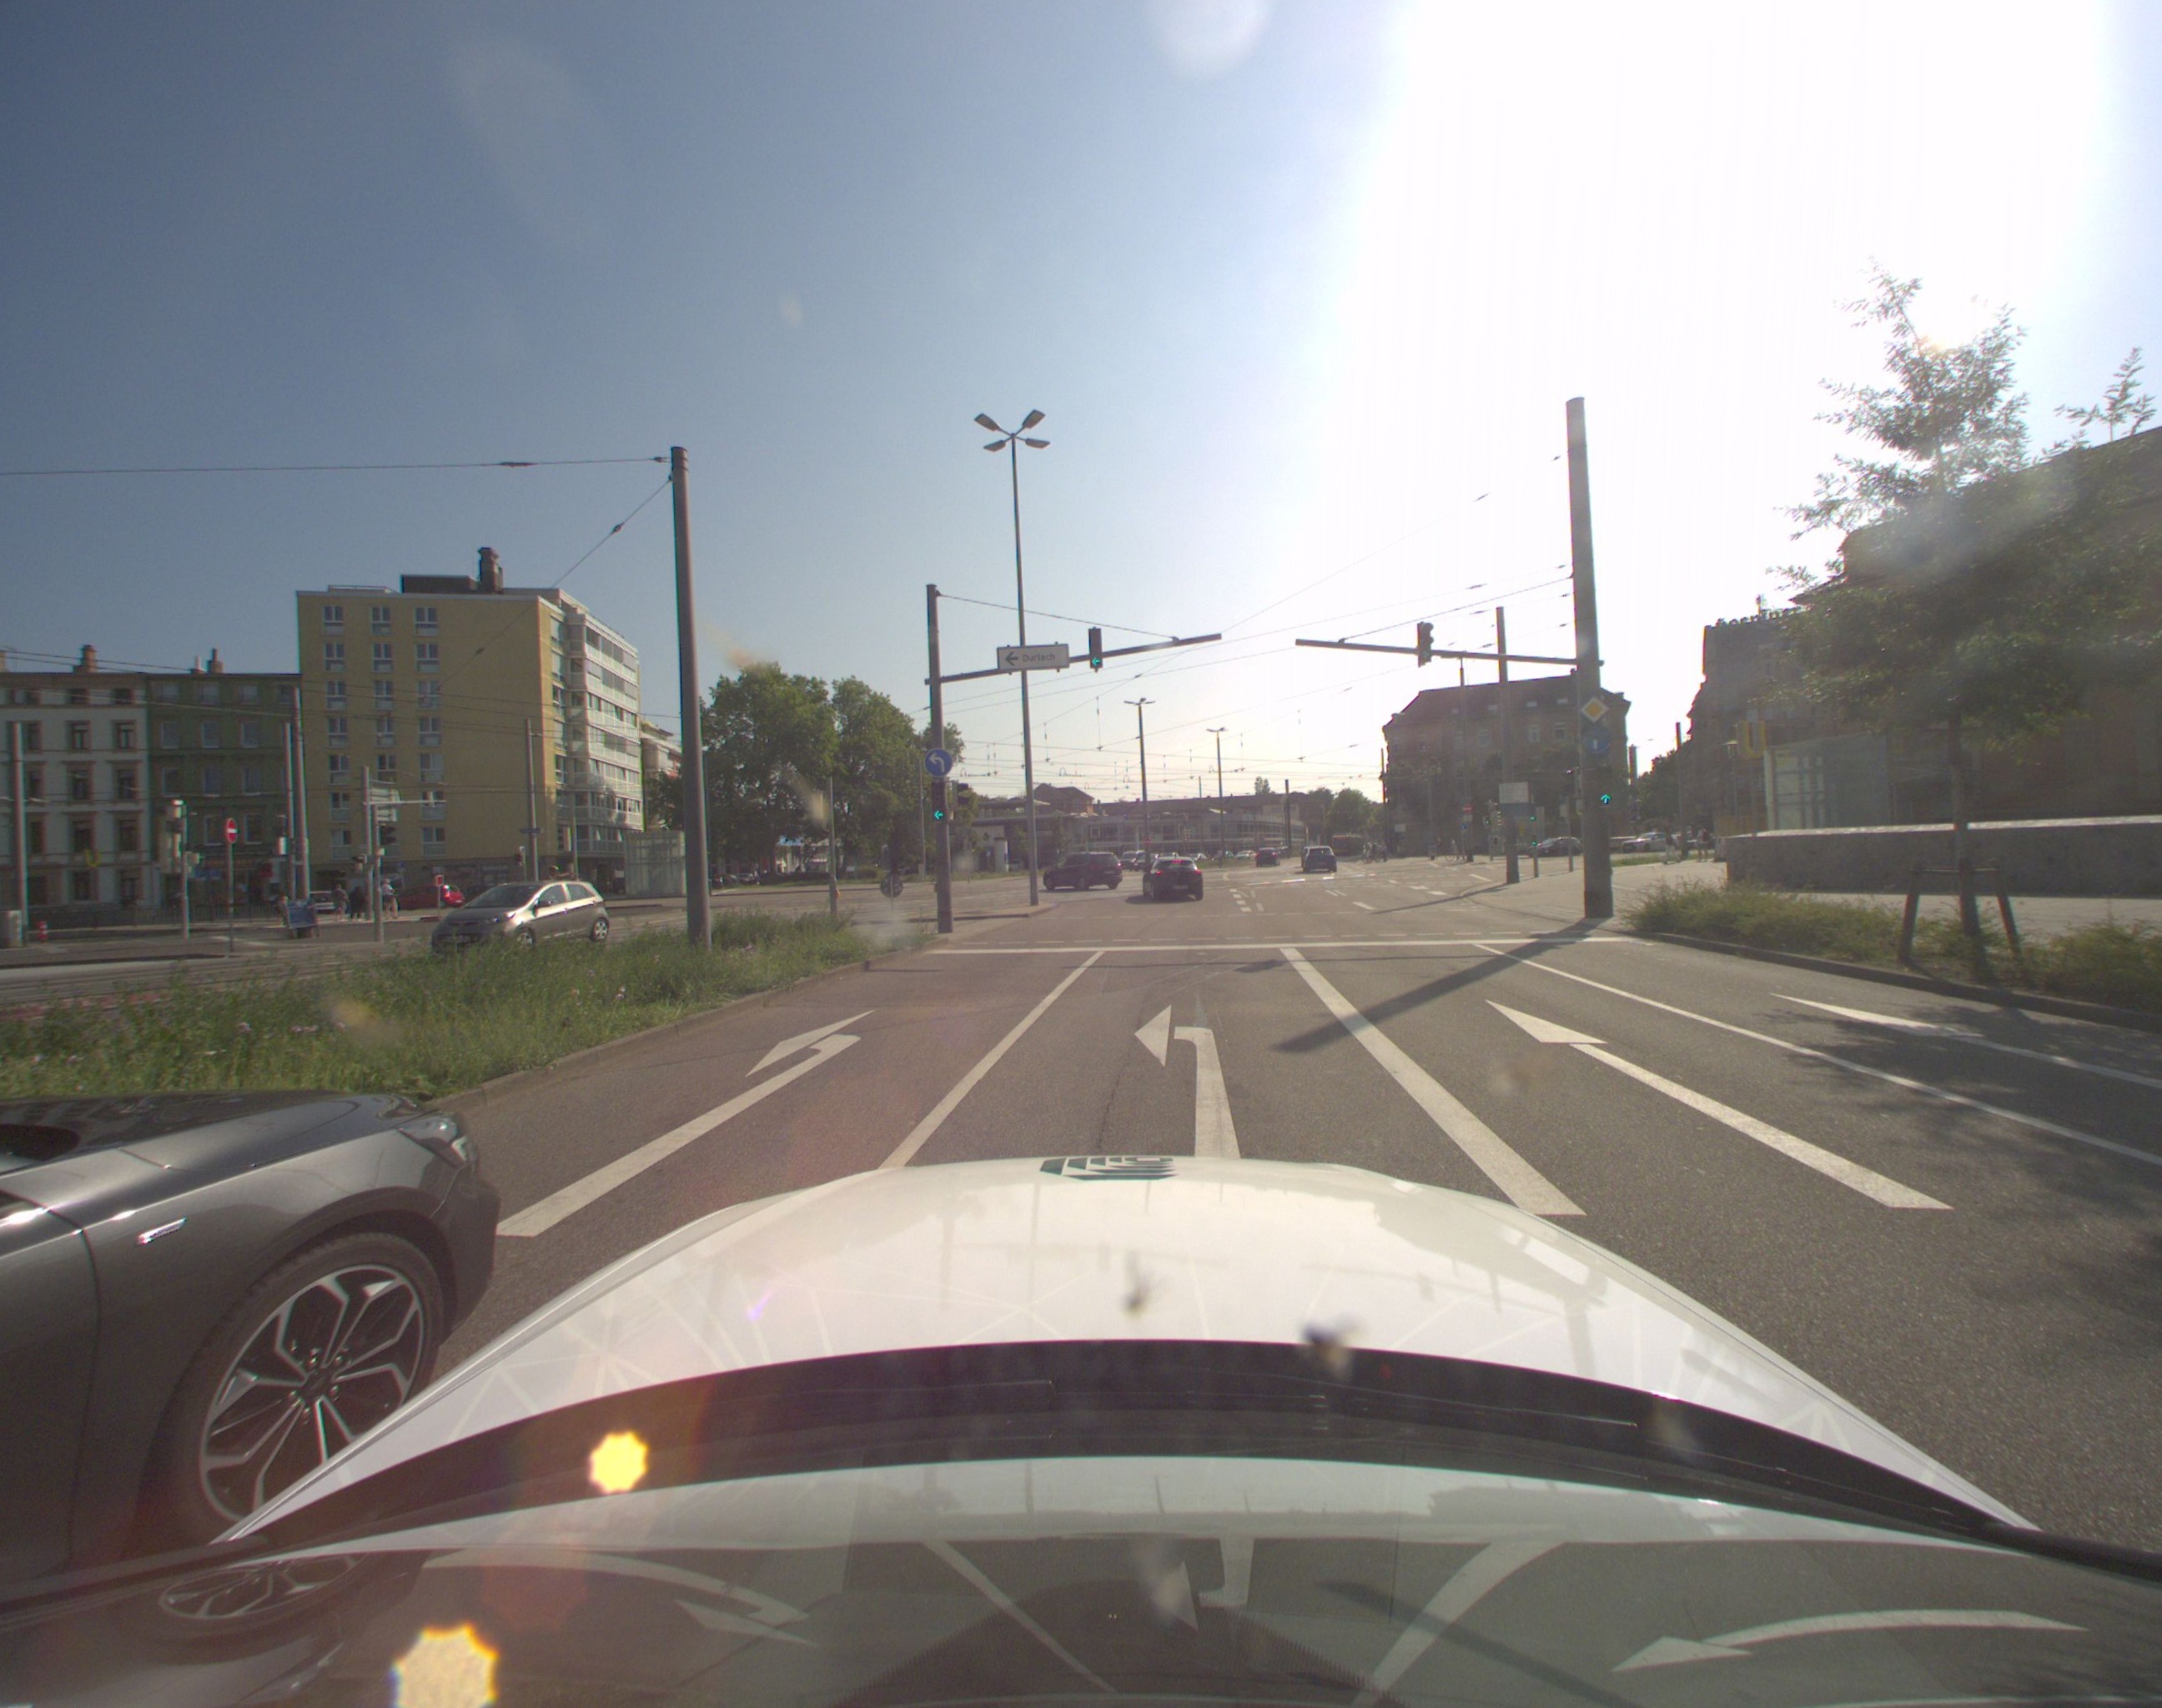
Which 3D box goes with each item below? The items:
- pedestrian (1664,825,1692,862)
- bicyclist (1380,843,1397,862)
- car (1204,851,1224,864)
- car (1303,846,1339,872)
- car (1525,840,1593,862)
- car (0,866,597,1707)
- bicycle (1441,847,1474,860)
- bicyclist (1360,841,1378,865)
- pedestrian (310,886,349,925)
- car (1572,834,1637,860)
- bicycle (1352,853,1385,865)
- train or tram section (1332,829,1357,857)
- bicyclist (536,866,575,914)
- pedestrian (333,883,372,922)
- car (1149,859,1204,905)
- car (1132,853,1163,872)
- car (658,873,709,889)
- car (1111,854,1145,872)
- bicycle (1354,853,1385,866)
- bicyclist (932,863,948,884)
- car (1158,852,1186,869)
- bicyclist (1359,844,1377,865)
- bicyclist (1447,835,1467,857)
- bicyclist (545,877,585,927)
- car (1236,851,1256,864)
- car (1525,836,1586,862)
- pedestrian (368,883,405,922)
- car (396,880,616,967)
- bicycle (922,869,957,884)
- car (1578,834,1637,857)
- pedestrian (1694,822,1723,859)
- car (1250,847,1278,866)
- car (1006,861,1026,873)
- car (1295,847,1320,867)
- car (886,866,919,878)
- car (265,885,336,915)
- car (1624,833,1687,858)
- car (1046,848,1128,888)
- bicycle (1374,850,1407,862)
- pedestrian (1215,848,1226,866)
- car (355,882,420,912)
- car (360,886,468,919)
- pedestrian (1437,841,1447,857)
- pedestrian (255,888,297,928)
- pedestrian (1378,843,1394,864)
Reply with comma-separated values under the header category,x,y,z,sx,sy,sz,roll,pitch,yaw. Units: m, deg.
category,x,y,z,sx,sy,sz,roll,pitch,yaw
pedestrian,28.259,-0.486,38.532,0.911,1.690,0.842,-3,-1,43
bicyclist,27.667,-0.147,73.265,0.936,1.680,1.086,-2,0,-17
car,16.803,0.429,102.745,1.600,1.475,4.022,-5,-1,23
car,14.324,0.266,48.812,1.812,1.428,4.429,-3,0,14
car,35.290,-0.224,60.102,4.390,1.397,2.009,-2,0,-22
car,-2.721,0.785,0.519,1.824,1.435,4.555,-2,0,4
bicycle,30.592,-0.030,66.201,2.635,0.964,1.082,-2,-1,-31
bicyclist,24.682,-0.065,69.774,0.940,2.024,1.082,-2,0,-31
pedestrian,-34.078,2.315,36.944,0.922,1.690,0.919,-2,-1,-11
car,42.296,-0.565,65.790,4.709,1.859,1.897,-2,0,-20
bicycle,25.400,0.460,72.012,2.625,0.964,1.086,-2,0,-18
train or tram section,38.662,-1.619,119.119,2.631,3.699,10.646,-3,0,22
bicyclist,-17.505,1.184,27.149,0.793,1.527,0.725,-2,0,-5
pedestrian,-32.977,2.198,36.867,0.922,1.690,0.919,-2,-1,-11
car,3.305,0.936,28.760,1.675,1.492,4.376,-1,-1,4
car,6.002,0.735,72.877,1.600,1.475,4.021,-5,-1,22
car,-38.420,2.630,78.785,4.160,1.354,1.571,-2,0,-13
car,4.566,0.868,78.285,1.943,1.475,4.021,-5,-1,22
bicycle,24.745,0.477,69.790,2.635,0.964,1.082,-2,0,-31
bicyclist,-10.932,1.509,63.190,1.161,1.527,0.958,-2,-1,-7
car,8.870,0.595,79.158,1.600,1.475,4.021,-5,-1,22
bicyclist,25.369,0.040,72.007,0.936,1.800,1.086,-2,0,-17
bicyclist,30.593,-0.633,66.217,0.940,1.708,1.082,-2,0,-31
bicyclist,-17.917,1.644,28.299,0.880,1.652,0.725,-2,0,-5
car,20.850,0.443,102.860,1.600,1.475,4.022,-5,-1,23
car,37.449,-0.413,64.231,4.253,1.859,1.896,-2,0,-22
pedestrian,-31.552,2.175,37.008,0.922,1.690,0.919,-2,-1,-11
car,-11.882,1.370,17.177,1.881,1.452,3.677,-3,0,2
bicycle,-10.936,1.764,63.180,2.598,1.057,0.958,-2,-1,-8
car,46.988,-0.728,72.697,4.262,1.859,1.924,-2,0,-12
pedestrian,29.876,-0.650,38.749,0.930,1.690,0.911,-2,-1,-44
car,16.156,0.203,71.804,1.810,1.535,4.435,-3,0,20
car,-8.870,1.824,111.917,1.689,1.522,4.112,-2,0,11
car,18.180,0.207,65.192,1.811,1.428,4.431,-3,0,16
car,-25.381,2.508,115.866,1.683,1.522,4.544,-2,0,38
car,-48.426,2.849,50.519,4.491,1.678,2.013,-2,0,31
car,47.477,-0.707,67.317,4.667,1.859,2.031,-2,0,-22
car,0.227,0.642,38.080,1.837,1.714,4.370,-2,0,-30
bicycle,27.865,0.213,73.329,2.625,0.964,1.086,-2,0,-18
pedestrian,12.189,0.244,71.074,0.771,1.503,0.713,-3,0,18
car,-43.473,2.683,51.009,4.491,1.678,2.013,-2,-1,35
car,-38.526,2.779,47.124,4.403,1.535,1.823,-3,0,-14
pedestrian,34.089,-0.487,76.955,0.671,1.471,0.540,-2,-1,-38
pedestrian,-35.337,2.367,35.776,0.922,1.690,0.919,-2,-1,-11
pedestrian,26.529,-0.048,70.832,0.932,1.797,0.851,-2,0,-34
